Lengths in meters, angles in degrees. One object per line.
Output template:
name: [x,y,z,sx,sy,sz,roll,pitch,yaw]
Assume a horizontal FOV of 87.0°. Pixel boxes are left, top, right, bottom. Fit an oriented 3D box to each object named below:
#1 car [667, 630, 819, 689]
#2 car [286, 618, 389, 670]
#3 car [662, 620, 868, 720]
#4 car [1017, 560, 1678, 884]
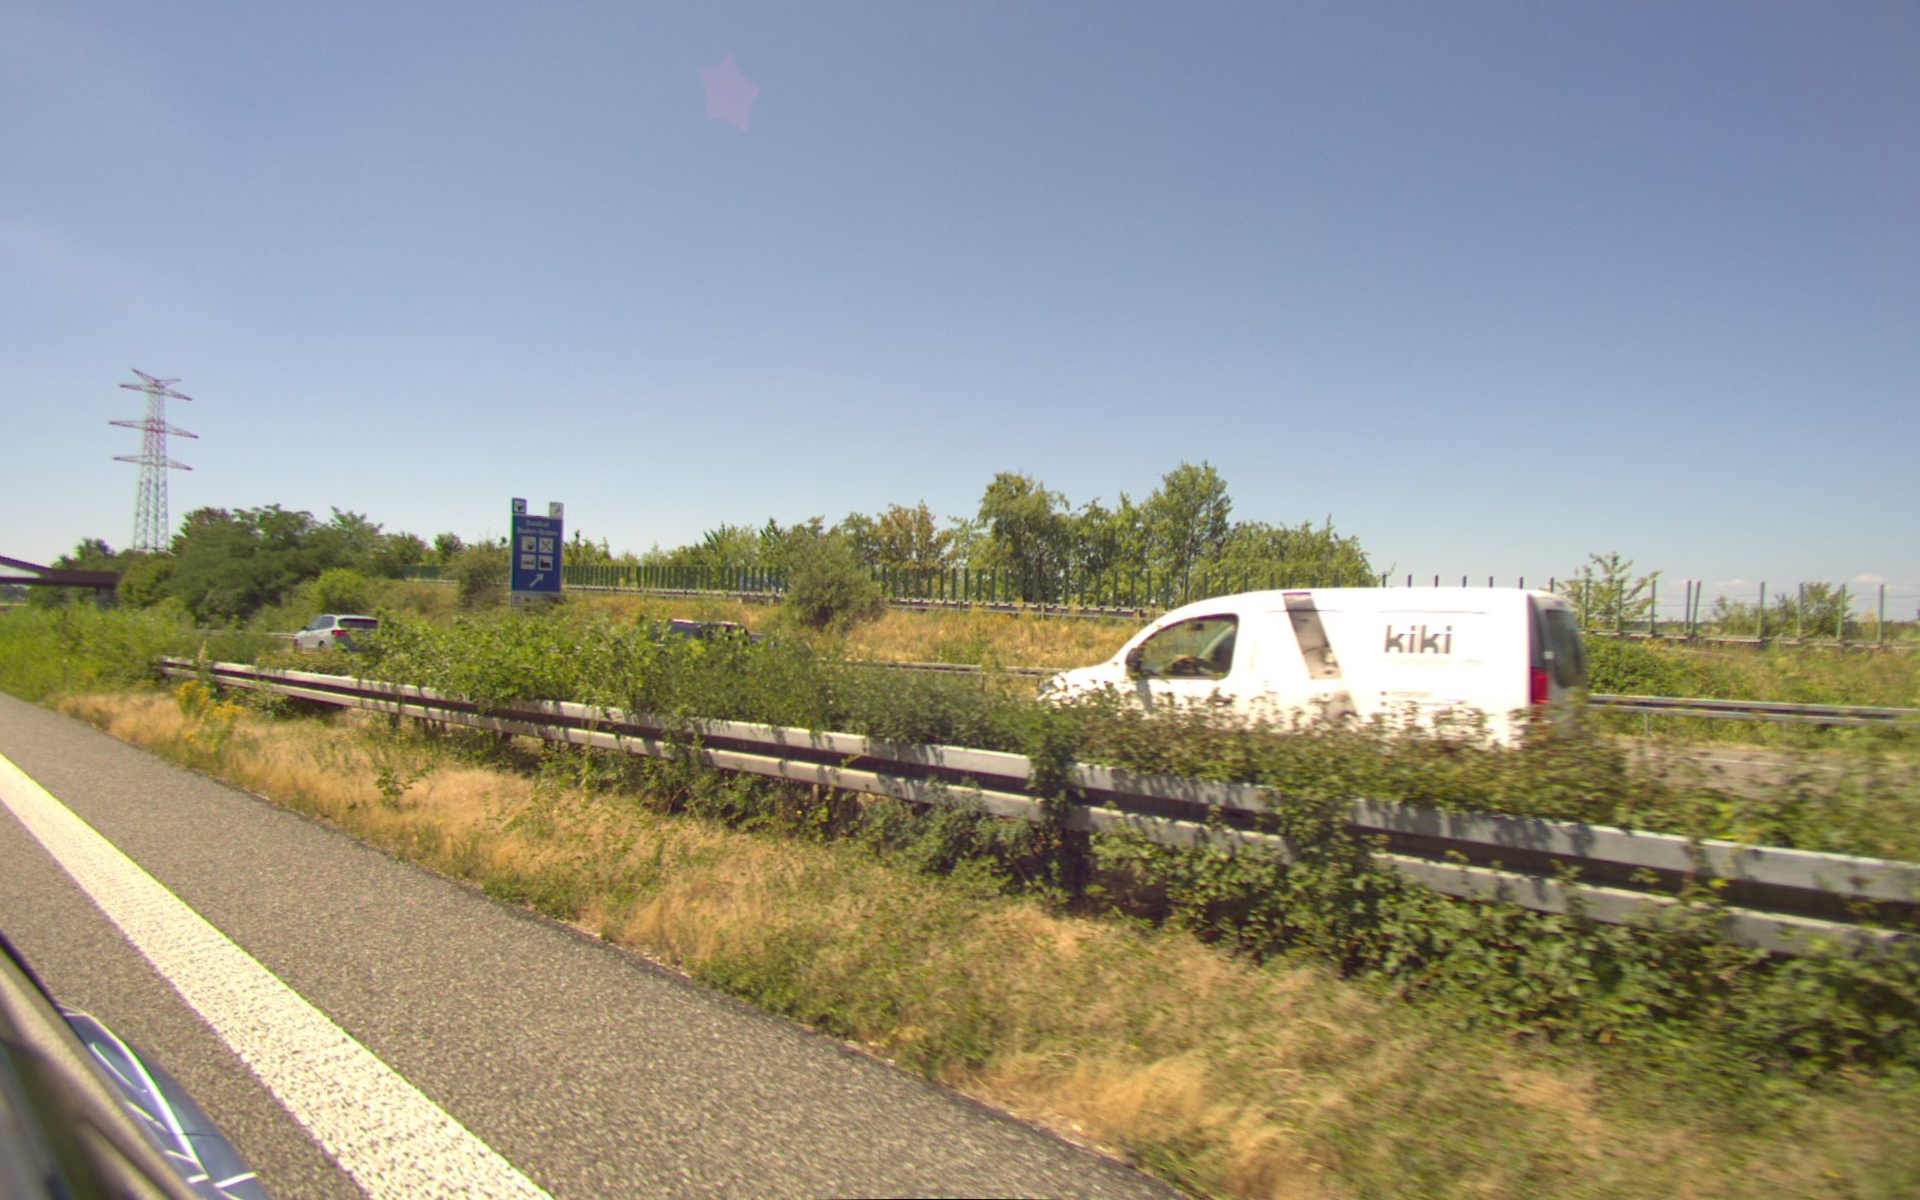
car: [-6.067,1.592,27.967,4.796,1.460,1.525,-1,-3,41]
car: [-22.841,1.555,37.060,5.014,1.779,1.770,-1,-2,41]
car: [-3.782,1.256,19.299,3.997,1.706,1.744,-1,-2,41]
car: [2.889,0.787,8.315,4.768,1.940,1.744,-1,-2,41]
